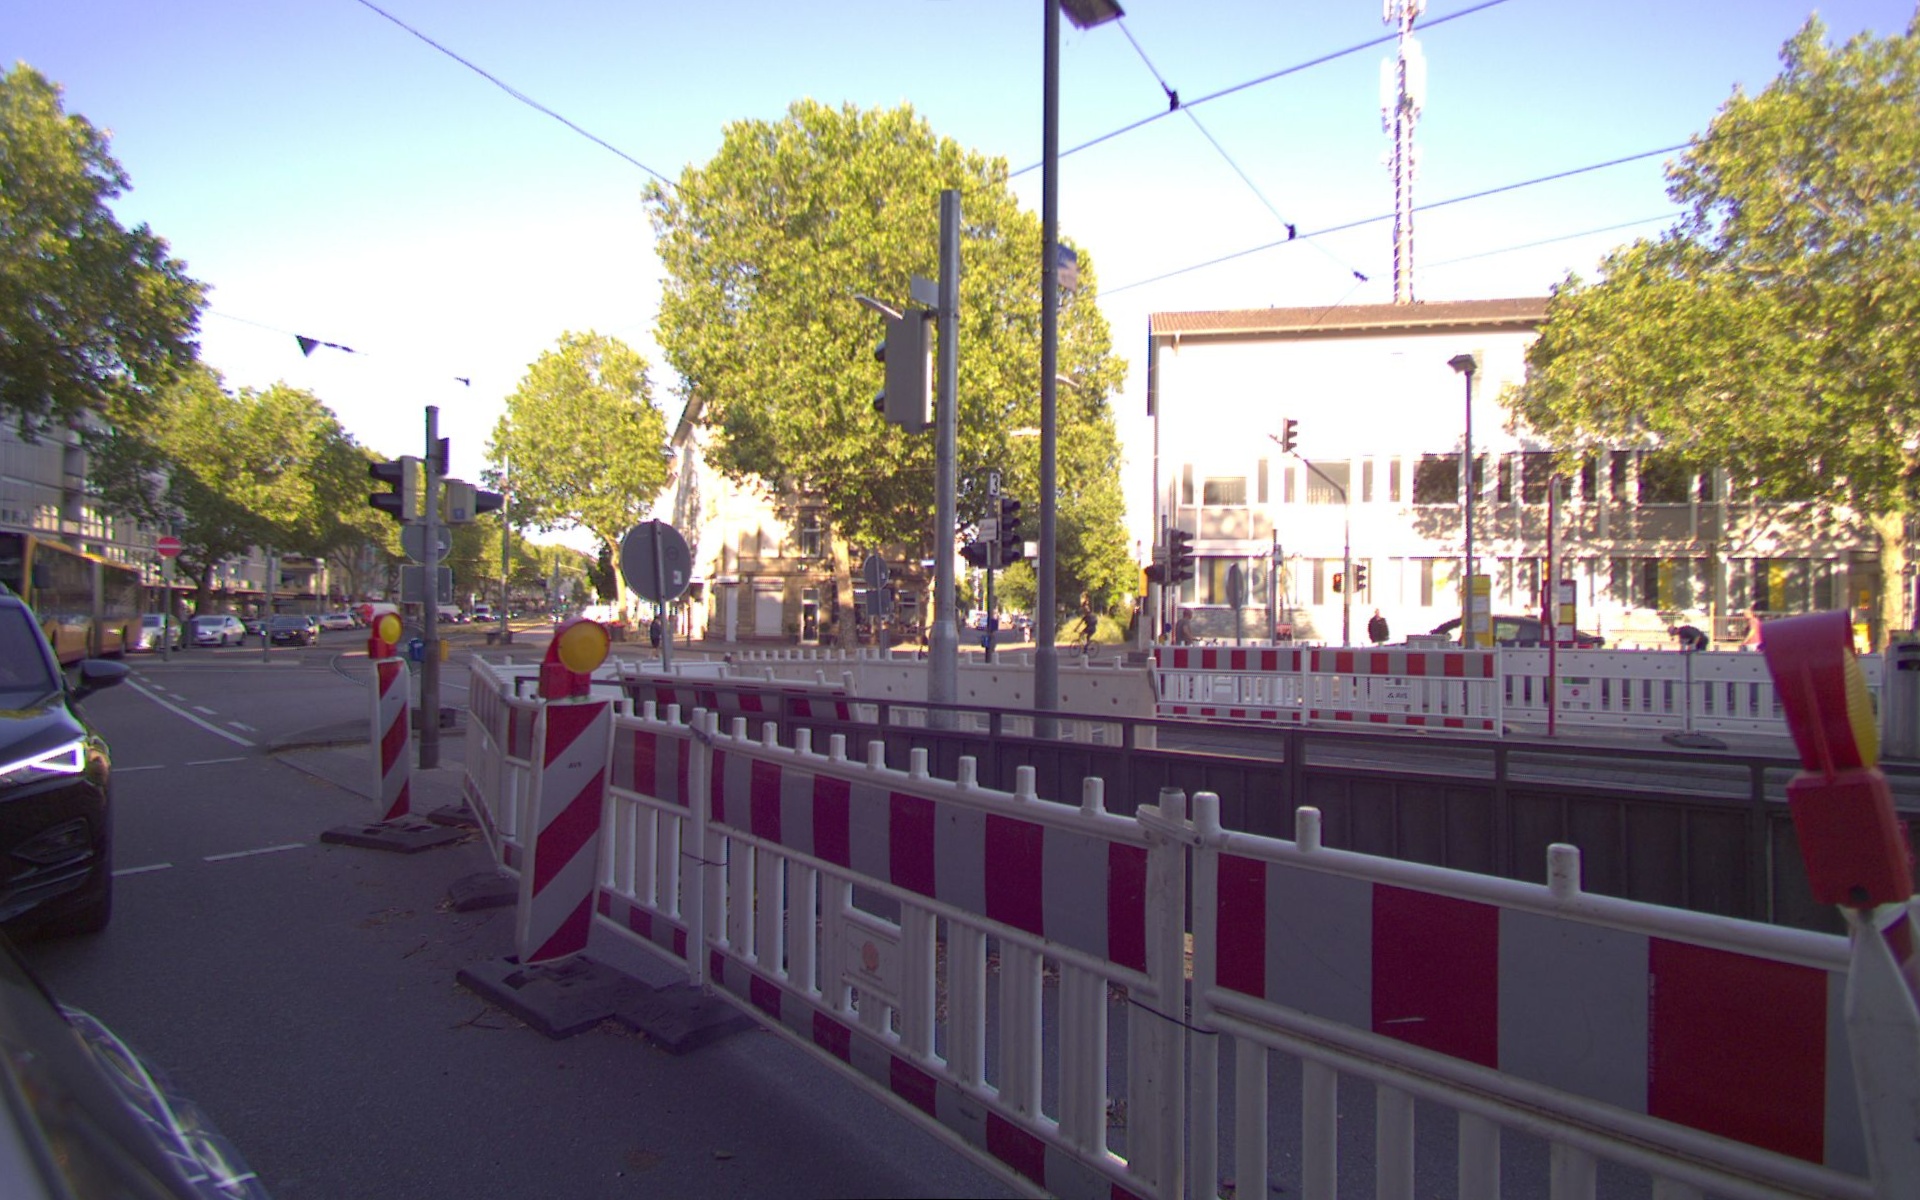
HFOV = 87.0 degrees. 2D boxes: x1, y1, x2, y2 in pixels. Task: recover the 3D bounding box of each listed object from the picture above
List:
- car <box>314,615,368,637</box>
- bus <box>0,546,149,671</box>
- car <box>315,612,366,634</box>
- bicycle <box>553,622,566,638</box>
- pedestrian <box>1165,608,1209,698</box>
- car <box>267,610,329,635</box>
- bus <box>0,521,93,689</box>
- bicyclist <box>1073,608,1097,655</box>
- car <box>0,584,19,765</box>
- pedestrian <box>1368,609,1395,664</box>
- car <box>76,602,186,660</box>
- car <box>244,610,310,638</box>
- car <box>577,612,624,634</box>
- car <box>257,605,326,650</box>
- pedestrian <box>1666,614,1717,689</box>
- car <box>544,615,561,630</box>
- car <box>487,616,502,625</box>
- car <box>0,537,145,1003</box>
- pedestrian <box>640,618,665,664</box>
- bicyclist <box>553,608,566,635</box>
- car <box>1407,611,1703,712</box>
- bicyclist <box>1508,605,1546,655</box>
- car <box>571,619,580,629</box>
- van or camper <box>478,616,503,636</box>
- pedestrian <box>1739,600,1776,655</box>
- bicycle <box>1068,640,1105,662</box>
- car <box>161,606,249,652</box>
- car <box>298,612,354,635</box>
[{"bbox_3d":[-57.800,2.393,94.498,3.938,2.029,2.002,1,-2,-42],"label":"car"},{"bbox_3d":[-25.851,0.283,29.140,2.676,3.130,8.622,1,-2,-31],"label":"bus"},{"bbox_3d":[-60.185,2.241,98.393,3.938,2.029,2.002,1,-2,-42],"label":"car"},{"bbox_3d":[-30.637,2.251,77.404,0.837,1.202,2.474,1,-1,-25],"label":"bicycle"},{"bbox_3d":[4.502,1.040,20.117,0.545,1.760,0.693,1,-2,-24],"label":"pedestrian"},{"bbox_3d":[-53.933,1.837,82.463,3.938,2.029,2.002,1,-2,-42],"label":"car"},{"bbox_3d":[-20.972,0.142,21.861,2.678,3.130,8.641,1,-2,-36],"label":"bus"},{"bbox_3d":[4.650,1.157,37.619,0.662,1.741,0.767,1,-2,-13],"label":"bicyclist"},{"bbox_3d":[-10.907,0.690,9.965,4.073,1.656,1.973,-1,-2,41],"label":"car"},{"bbox_3d":[12.189,1.053,29.272,0.649,1.564,0.563,-1,-2,28],"label":"pedestrian"},{"bbox_3d":[-30.719,1.132,37.651,1.965,2.029,4.111,1,-1,-21],"label":"car"},{"bbox_3d":[-50.459,1.801,74.879,3.932,2.029,2.006,1,-2,-31],"label":"car"},{"bbox_3d":[-34.363,2.183,96.940,1.990,2.029,3.963,0,-2,27],"label":"car"},{"bbox_3d":[-31.574,1.282,47.946,1.965,2.029,4.013,1,-1,-22],"label":"car"},{"bbox_3d":[18.267,1.267,25.285,0.923,1.847,0.693,-1,-2,28],"label":"pedestrian"},{"bbox_3d":[-54.920,3.063,136.503,1.965,2.029,4.013,1,-1,-20],"label":"car"},{"bbox_3d":[-74.494,3.280,161.948,1.675,1.481,3.776,1,-2,-19],"label":"car"},{"bbox_3d":[-5.374,0.638,4.683,3.998,1.719,1.818,-1,-2,41],"label":"car"},{"bbox_3d":[-10.564,1.395,34.764,0.594,1.545,0.746,1,-2,-38],"label":"pedestrian"},{"bbox_3d":[-30.620,1.635,77.406,0.841,2.029,0.987,1,-2,-23],"label":"bicyclist"},{"bbox_3d":[11.008,1.058,18.883,4.552,1.674,1.974,-1,-2,38],"label":"car"},{"bbox_3d":[17.480,0.914,31.206,0.836,1.538,0.574,0,-1,10],"label":"bicyclist"},{"bbox_3d":[-72.858,4.464,191.807,1.661,1.866,4.013,1,-1,-20],"label":"car"},{"bbox_3d":[-66.239,3.701,142.926,2.385,2.739,6.151,1,-1,-18],"label":"van or camper"},{"bbox_3d":[21.519,0.732,27.317,0.580,1.466,0.584,0,-2,14],"label":"pedestrian"},{"bbox_3d":[4.669,1.876,37.506,0.670,0.788,1.996,1,-1,-15],"label":"bicycle"},{"bbox_3d":[-34.797,1.321,46.745,1.966,2.029,4.012,1,-1,-17],"label":"car"},{"bbox_3d":[-55.944,2.091,89.326,3.938,2.029,2.002,1,-2,-42],"label":"car"}]
